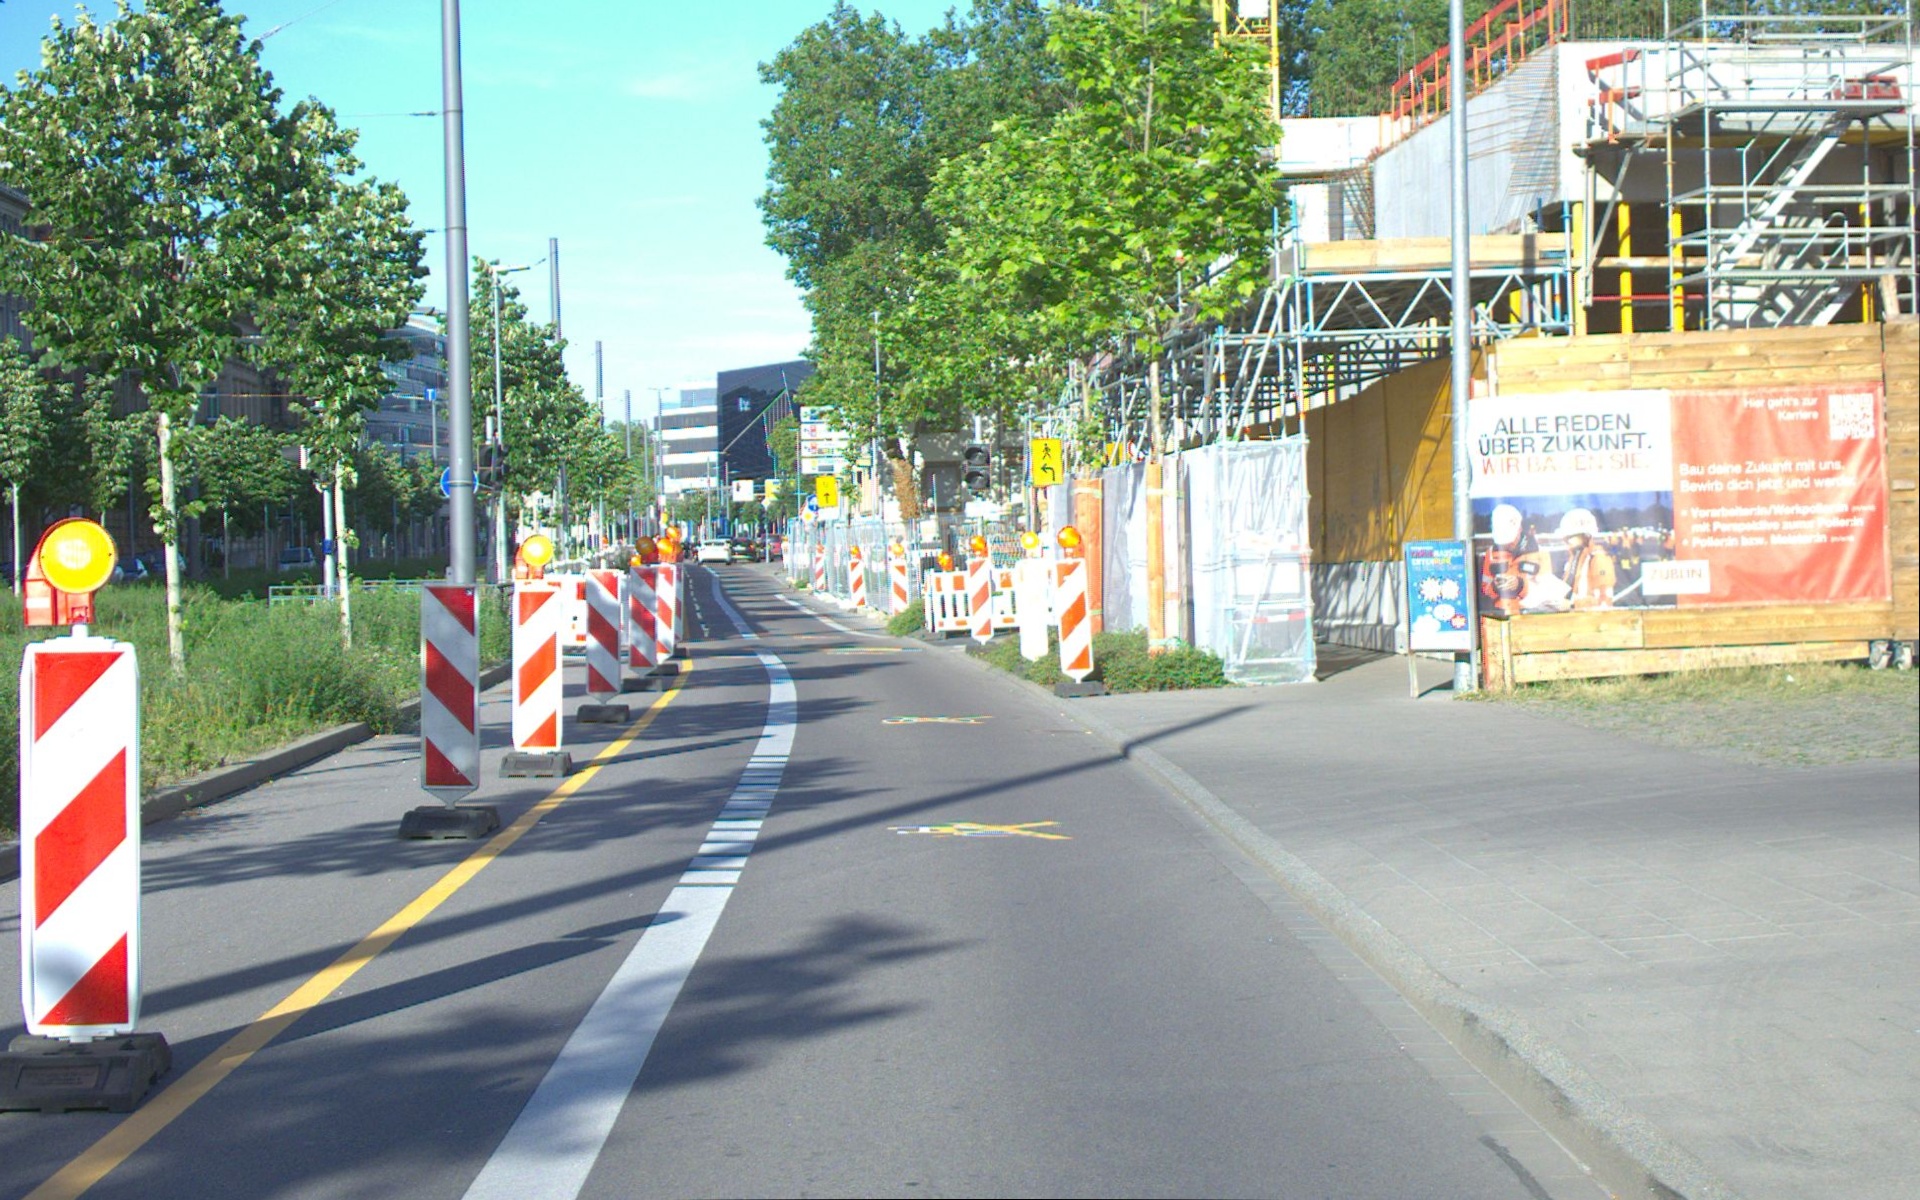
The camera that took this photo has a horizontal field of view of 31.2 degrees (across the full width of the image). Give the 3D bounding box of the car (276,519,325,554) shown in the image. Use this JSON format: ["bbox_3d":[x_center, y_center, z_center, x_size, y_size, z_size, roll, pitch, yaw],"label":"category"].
[{"bbox_3d":[-28.686,-2.764,149.656,1.594,1.478,3.624,-1,1,-3],"label":"car"}]

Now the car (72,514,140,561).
[{"bbox_3d":[-30.220,-2.232,121.710,1.566,1.557,4.716,-2,2,-5],"label":"car"}]

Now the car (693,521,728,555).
[{"bbox_3d":[-14.122,-3.494,194.674,1.883,1.836,3.668,-2,2,-4],"label":"car"}]

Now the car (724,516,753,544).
[{"bbox_3d":[-15.297,-4.846,236.994,1.883,1.836,3.668,-2,2,-4],"label":"car"}]
